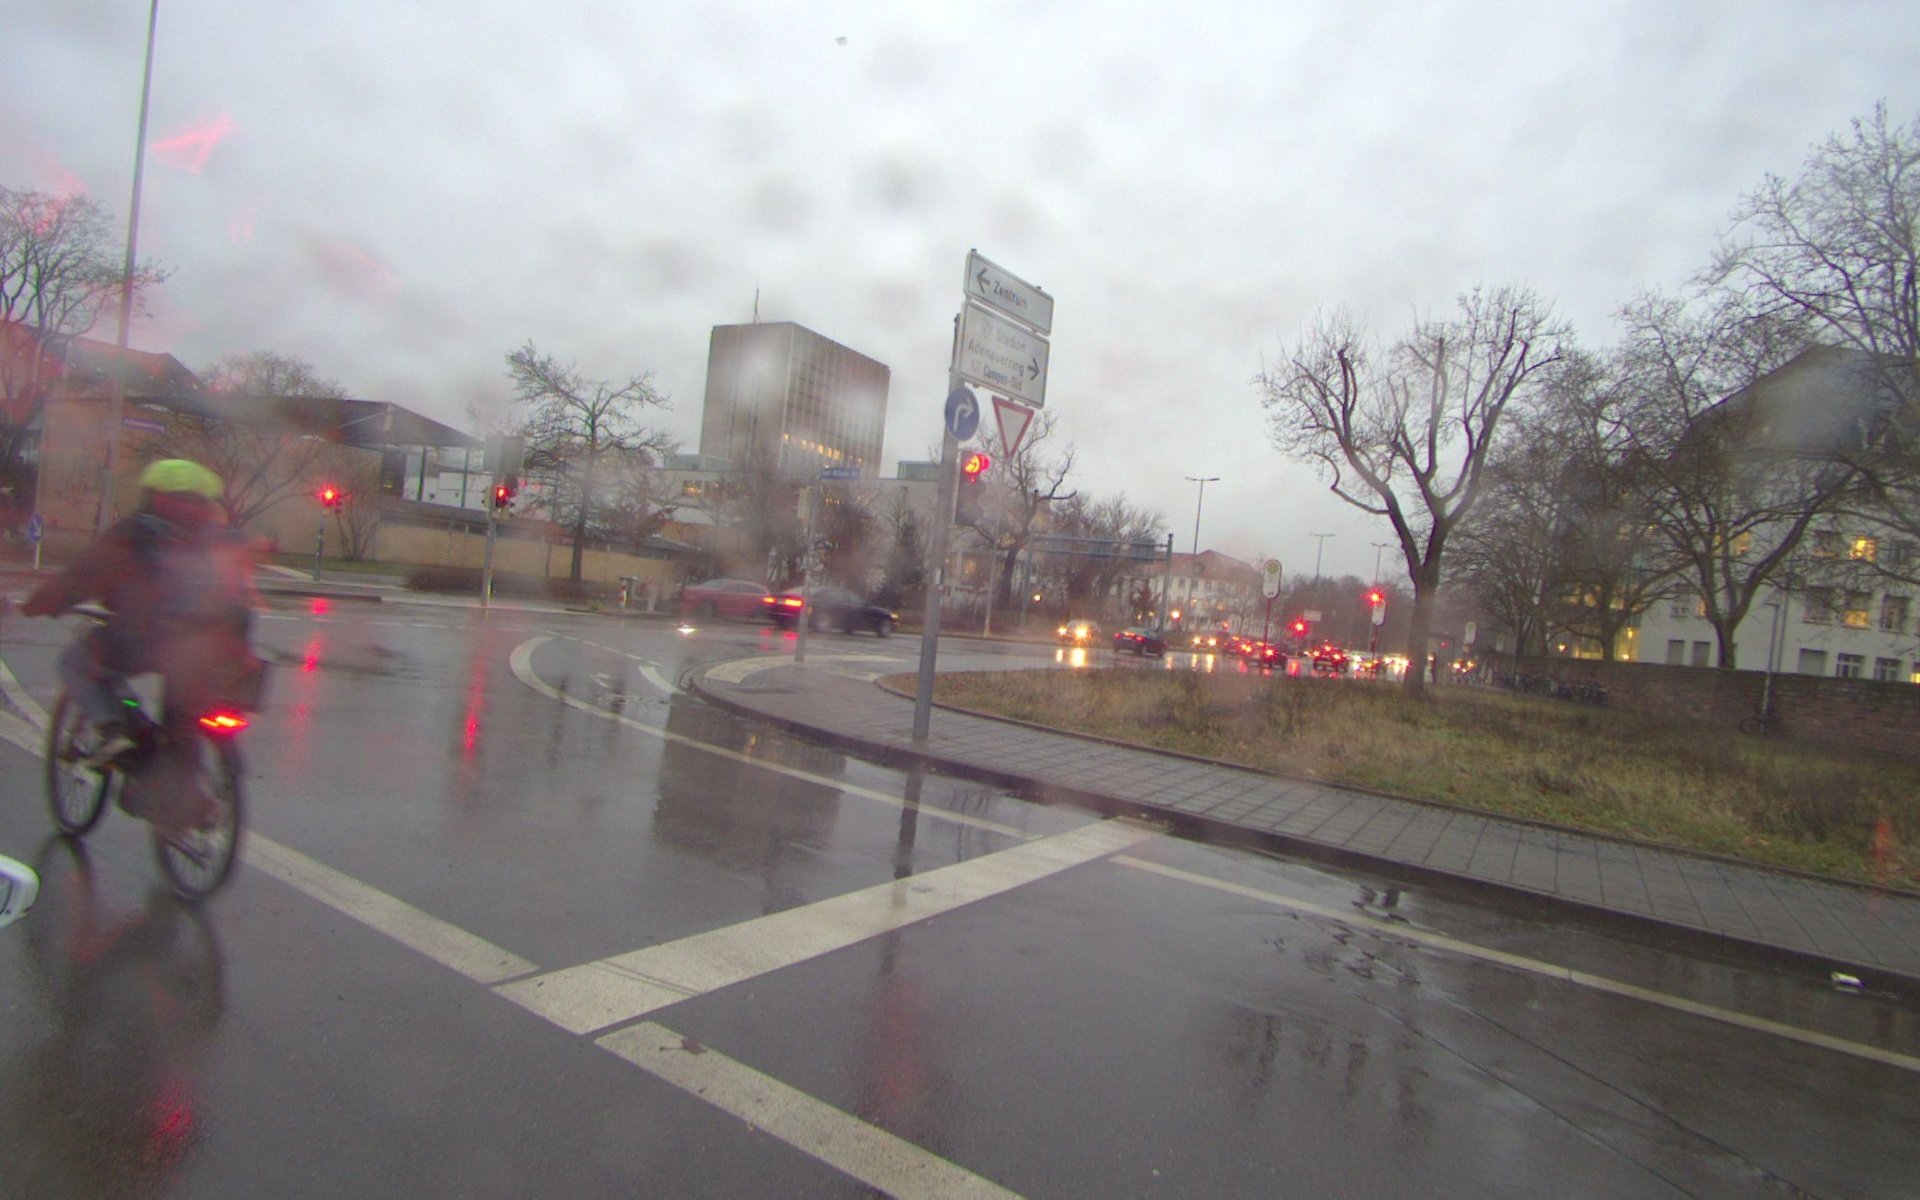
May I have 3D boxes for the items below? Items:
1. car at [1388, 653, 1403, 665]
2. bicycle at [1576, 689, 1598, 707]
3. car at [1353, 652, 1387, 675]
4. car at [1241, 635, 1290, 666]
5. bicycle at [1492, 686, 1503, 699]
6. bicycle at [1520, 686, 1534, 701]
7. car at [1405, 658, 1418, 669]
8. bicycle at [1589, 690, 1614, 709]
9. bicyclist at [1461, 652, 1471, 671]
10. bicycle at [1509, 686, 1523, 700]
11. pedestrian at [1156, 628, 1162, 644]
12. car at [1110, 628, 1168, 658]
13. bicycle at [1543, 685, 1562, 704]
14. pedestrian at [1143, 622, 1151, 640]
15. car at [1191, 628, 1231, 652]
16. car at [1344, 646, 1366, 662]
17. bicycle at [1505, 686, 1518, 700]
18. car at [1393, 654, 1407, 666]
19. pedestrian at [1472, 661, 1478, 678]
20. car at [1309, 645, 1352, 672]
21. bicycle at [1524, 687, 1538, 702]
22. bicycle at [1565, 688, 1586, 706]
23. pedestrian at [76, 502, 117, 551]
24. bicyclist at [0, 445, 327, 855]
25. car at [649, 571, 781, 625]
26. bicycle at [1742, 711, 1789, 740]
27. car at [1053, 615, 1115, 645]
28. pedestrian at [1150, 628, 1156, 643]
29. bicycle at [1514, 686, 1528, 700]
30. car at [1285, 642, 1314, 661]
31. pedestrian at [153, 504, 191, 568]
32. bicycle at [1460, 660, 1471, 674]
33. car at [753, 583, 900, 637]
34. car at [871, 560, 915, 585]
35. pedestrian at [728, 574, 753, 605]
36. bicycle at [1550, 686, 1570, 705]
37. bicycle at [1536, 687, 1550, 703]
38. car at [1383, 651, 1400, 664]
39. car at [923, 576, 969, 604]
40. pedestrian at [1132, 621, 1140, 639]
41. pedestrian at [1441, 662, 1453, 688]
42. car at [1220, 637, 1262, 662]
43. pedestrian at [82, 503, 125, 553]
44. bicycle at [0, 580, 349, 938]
[{"bbox_3d":[71.707,9.738,165.681,1.834,1.783,3.993,7,1,27],"label":"car"},{"bbox_3d":[30.553,4.769,49.005,0.387,0.795,1.533,7,-2,14],"label":"bicycle"},{"bbox_3d":[34.280,5.288,84.030,1.811,1.710,4.311,6,0,32],"label":"car"},{"bbox_3d":[18.791,3.118,61.814,1.811,1.602,4.128,6,0,31],"label":"car"},{"bbox_3d":[36.396,6.247,68.112,0.387,0.795,1.532,7,-2,20],"label":"bicycle"},{"bbox_3d":[33.328,5.487,59.150,0.387,0.795,1.532,7,-2,20],"label":"bicycle"},{"bbox_3d":[85.734,12.113,190.879,1.834,1.783,3.993,7,1,27],"label":"car"},{"bbox_3d":[30.279,4.673,47.481,0.352,0.795,1.415,7,-2,8],"label":"bicycle"},{"bbox_3d":[46.347,5.614,92.135,0.599,1.660,0.453,7,-1,19],"label":"bicyclist"},{"bbox_3d":[34.355,5.742,62.157,0.387,0.795,1.532,7,-2,20],"label":"bicycle"},{"bbox_3d":[22.094,4.024,111.723,0.409,1.725,0.432,7,2,23],"label":"pedestrian"},{"bbox_3d":[9.368,2.250,52.437,1.673,1.318,3.759,6,0,31],"label":"car"},{"bbox_3d":[31.846,5.075,54.092,0.387,0.927,1.532,7,-2,15],"label":"bicycle"},{"bbox_3d":[18.296,3.021,98.500,0.411,1.725,0.430,8,3,44],"label":"pedestrian"},{"bbox_3d":[22.721,3.616,90.837,2.013,1.903,5.327,6,0,30],"label":"car"},{"bbox_3d":[51.654,7.069,131.496,1.966,1.783,3.992,7,1,29],"label":"car"},{"bbox_3d":[34.856,5.866,63.631,0.387,0.795,1.532,7,-2,20],"label":"bicycle"},{"bbox_3d":[76.978,10.469,175.983,1.834,1.783,3.993,7,1,27],"label":"car"},{"bbox_3d":[53.796,7.254,105.102,0.313,1.816,0.461,7,2,32],"label":"pedestrian"},{"bbox_3d":[27.418,4.324,74.308,1.812,1.710,4.310,6,-1,35],"label":"car"},{"bbox_3d":[32.845,5.404,57.871,0.387,0.795,1.532,7,-2,19],"label":"bicycle"},{"bbox_3d":[31.042,4.876,50.750,0.343,0.848,1.493,7,-2,13],"label":"bicycle"},{"bbox_3d":[-29.934,-2.546,34.876,0.873,1.553,0.891,8,2,41],"label":"pedestrian"},{"bbox_3d":[-3.456,0.169,4.235,1.115,1.470,0.785,6,-1,32],"label":"bicyclist"},{"bbox_3d":[-8.720,-0.038,36.201,1.784,1.496,4.411,6,0,37],"label":"car"},{"bbox_3d":[28.206,4.400,35.231,0.387,0.834,1.386,7,-2,-4],"label":"bicycle"},{"bbox_3d":[7.732,1.895,62.254,1.784,1.496,4.411,6,0,37],"label":"car"},{"bbox_3d":[21.503,3.959,112.055,0.409,1.725,0.432,7,2,23],"label":"pedestrian"},{"bbox_3d":[33.834,5.614,60.668,0.387,0.795,1.532,7,-2,20],"label":"bicycle"},{"bbox_3d":[39.173,5.971,116.091,1.915,1.903,4.918,6,0,33],"label":"car"},{"bbox_3d":[-27.756,-2.246,35.452,0.877,2.141,0.887,5,2,-36],"label":"pedestrian"},{"bbox_3d":[46.275,6.142,92.121,0.599,1.181,1.682,7,-2,19],"label":"bicycle"},{"bbox_3d":[-4.265,0.359,32.746,1.910,1.318,4.680,6,0,38],"label":"car"},{"bbox_3d":[-7.063,-2.908,106.522,2.014,2.102,4.892,6,0,30],"label":"car"},{"bbox_3d":[-12.379,-0.580,56.722,0.783,1.624,0.960,8,2,39],"label":"pedestrian"},{"bbox_3d":[31.361,4.980,52.561,0.387,0.868,1.532,7,-2,15],"label":"bicycle"},{"bbox_3d":[32.417,5.290,55.958,0.387,0.795,1.607,7,-2,22],"label":"bicycle"},{"bbox_3d":[66.994,8.950,156.199,1.965,1.783,3.993,7,1,27],"label":"car"},{"bbox_3d":[-1.404,-0.994,103.191,2.014,2.452,5.326,6,0,30],"label":"car"},{"bbox_3d":[17.744,3.012,101.205,0.411,1.725,0.430,8,3,44],"label":"pedestrian"},{"bbox_3d":[39.375,6.050,81.305,0.557,2.040,0.595,8,2,33],"label":"pedestrian"},{"bbox_3d":[20.650,3.672,73.875,1.810,1.602,4.128,6,0,30],"label":"car"},{"bbox_3d":[-29.118,-2.440,34.192,1.028,1.553,0.922,8,2,42],"label":"pedestrian"},{"bbox_3d":[-3.562,0.556,4.254,1.925,1.087,0.785,6,-2,32],"label":"bicycle"}]
